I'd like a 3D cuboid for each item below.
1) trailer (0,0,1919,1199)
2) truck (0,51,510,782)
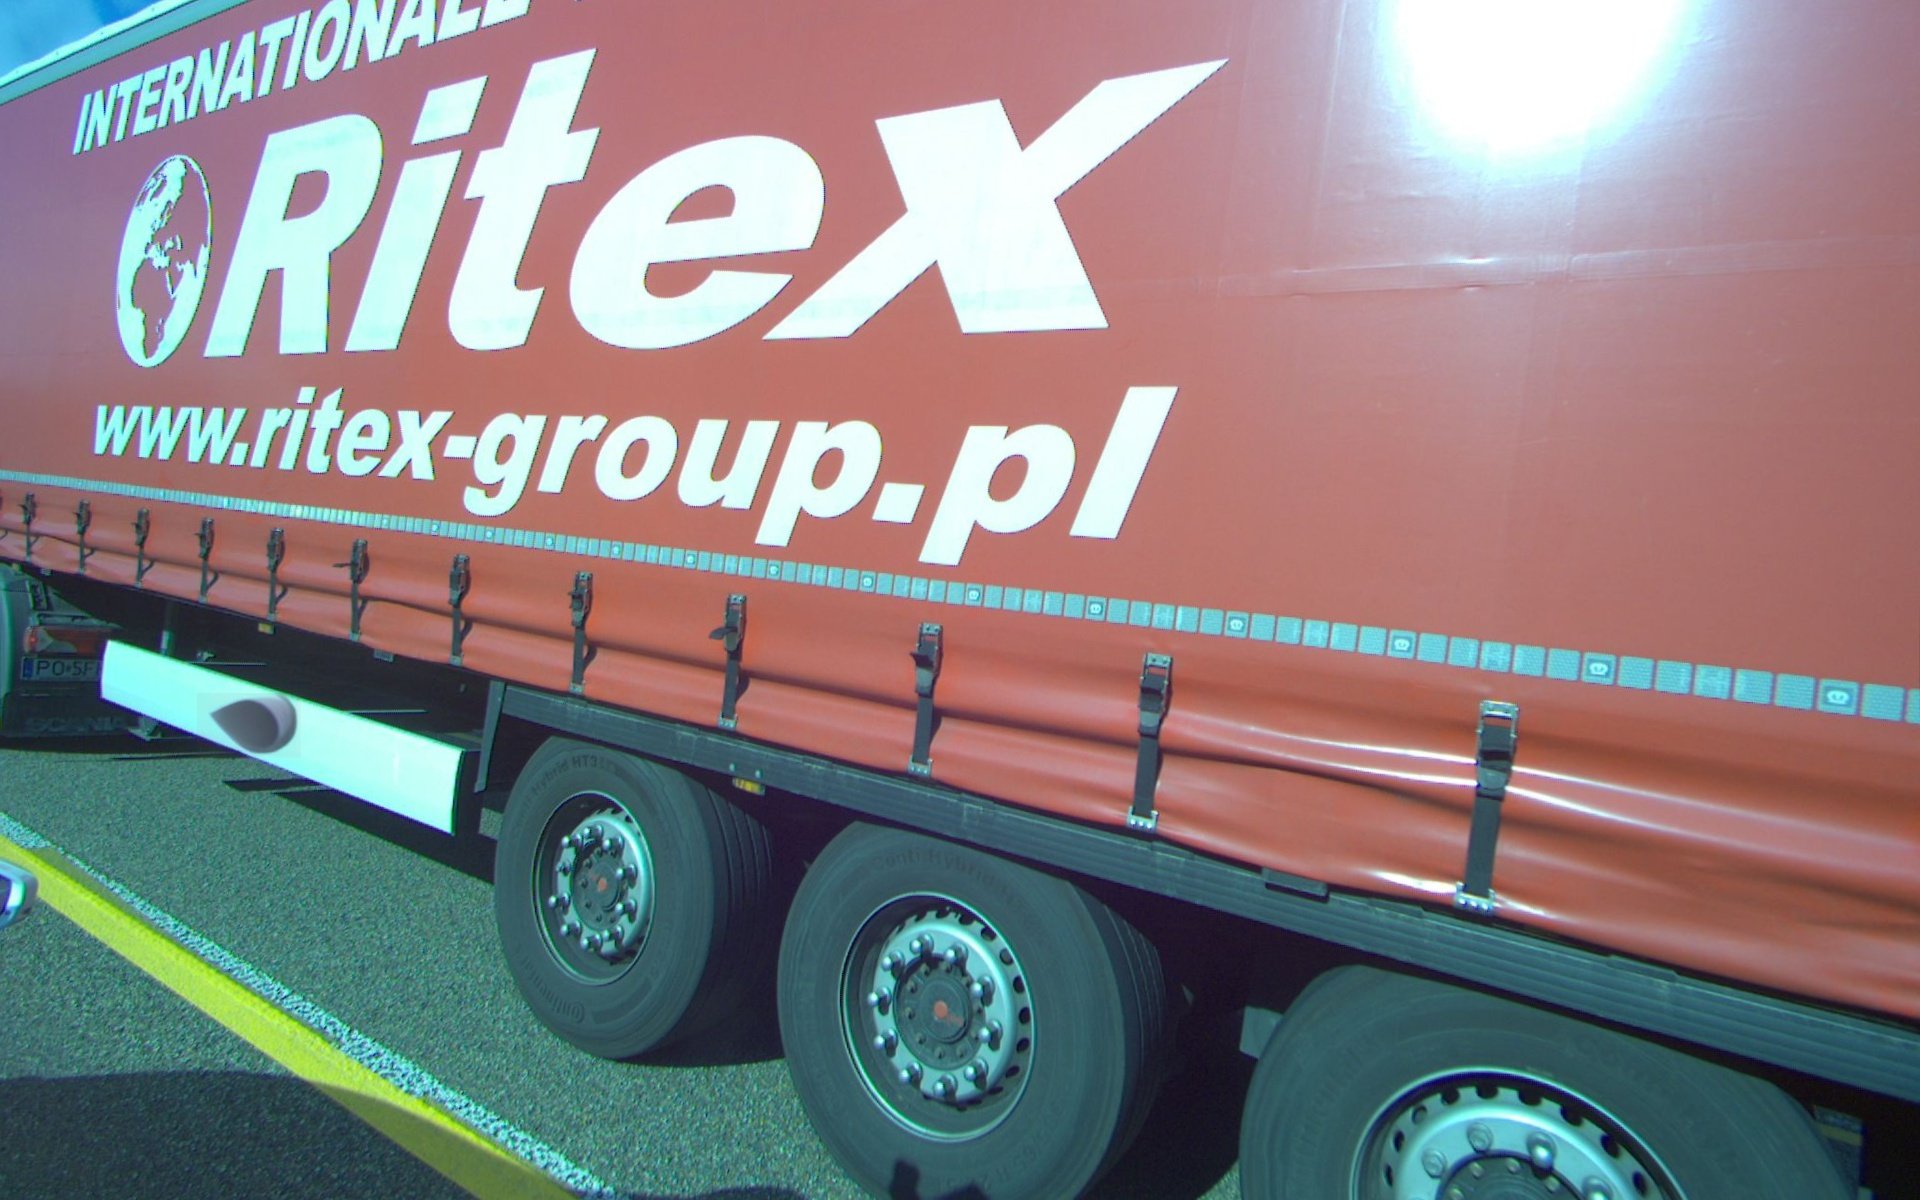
[{"bbox_3d":[-1.262,-0.515,4.705,13.193,4.015,2.705,7,-1,31],"label":"trailer"},{"bbox_3d":[-6.788,-1.147,8.052,5.615,4.005,2.673,7,-1,31],"label":"truck"}]
